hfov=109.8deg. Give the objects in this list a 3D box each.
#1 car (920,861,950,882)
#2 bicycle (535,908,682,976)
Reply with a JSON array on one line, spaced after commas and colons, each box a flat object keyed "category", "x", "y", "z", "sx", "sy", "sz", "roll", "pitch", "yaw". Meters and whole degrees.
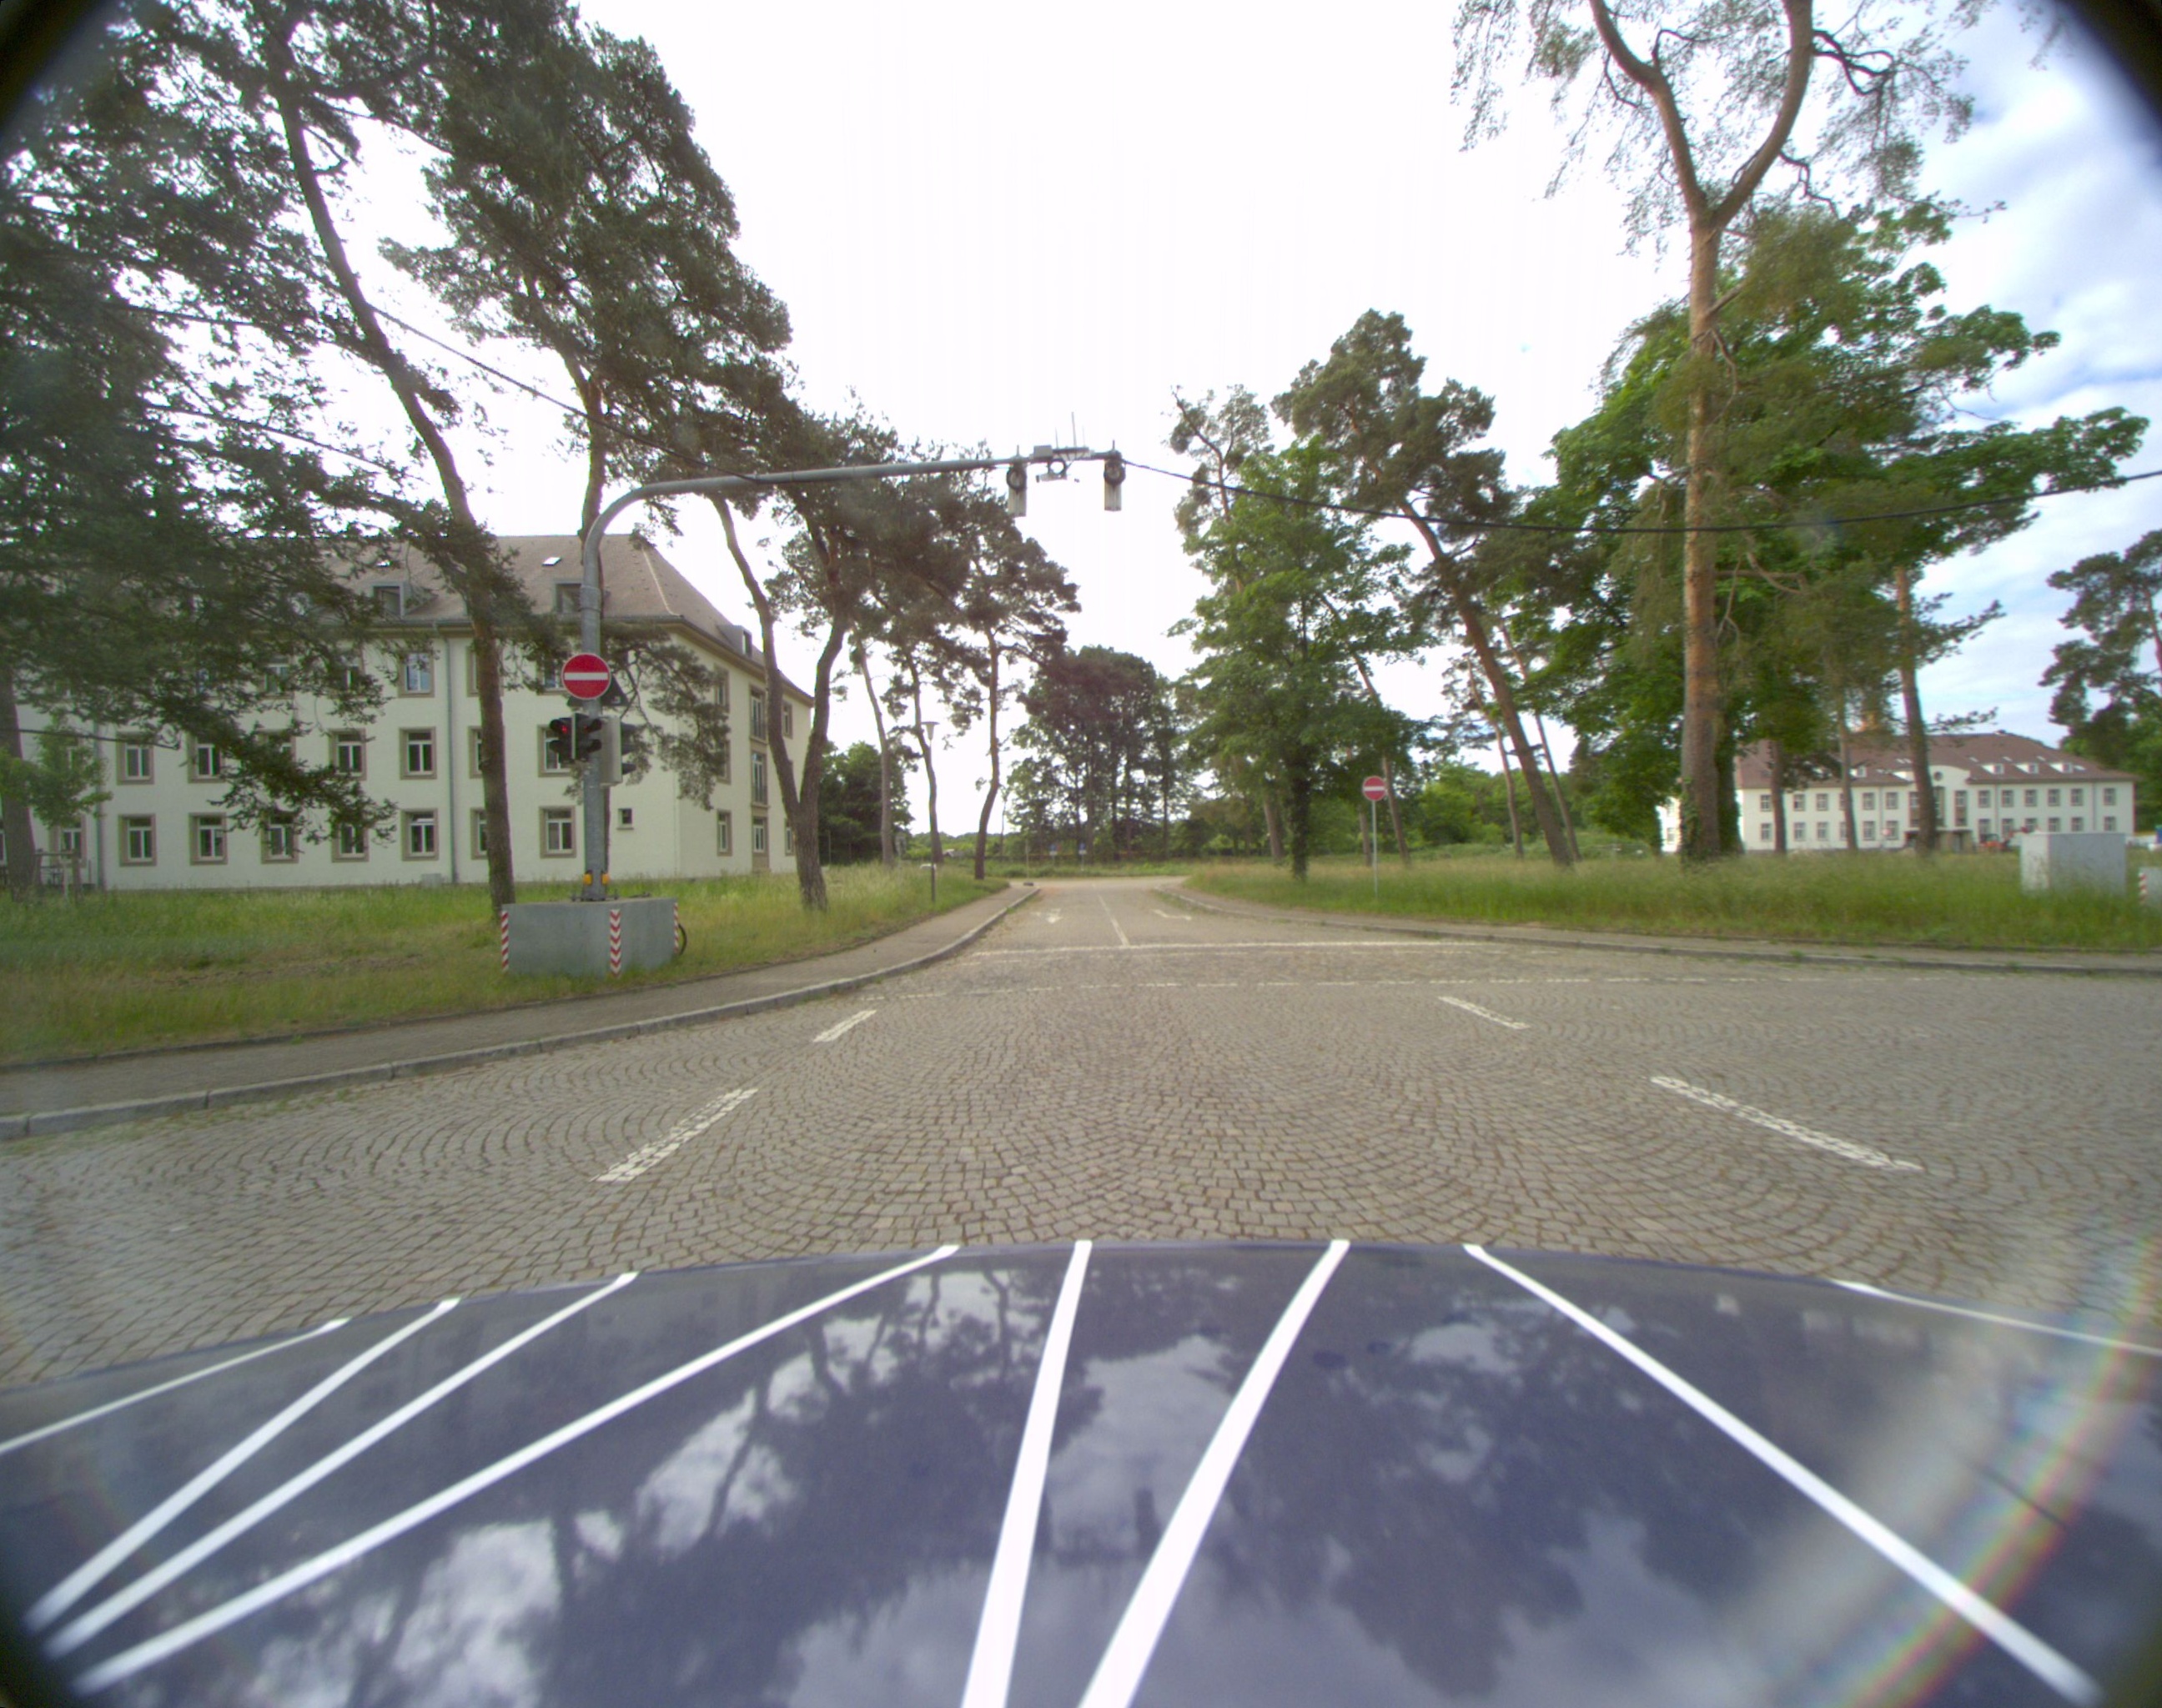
[{"category": "car", "x": -11.653, "y": 1.386, "z": 60.803, "sx": 1.641, "sy": 1.426, "sz": 3.277, "roll": -1, "pitch": 2, "yaw": 0}, {"category": "bicycle", "x": -6.646, "y": 1.231, "z": 10.727, "sx": 1.704, "sy": 0.869, "sz": 0.573, "roll": -1, "pitch": 0, "yaw": 0}]
